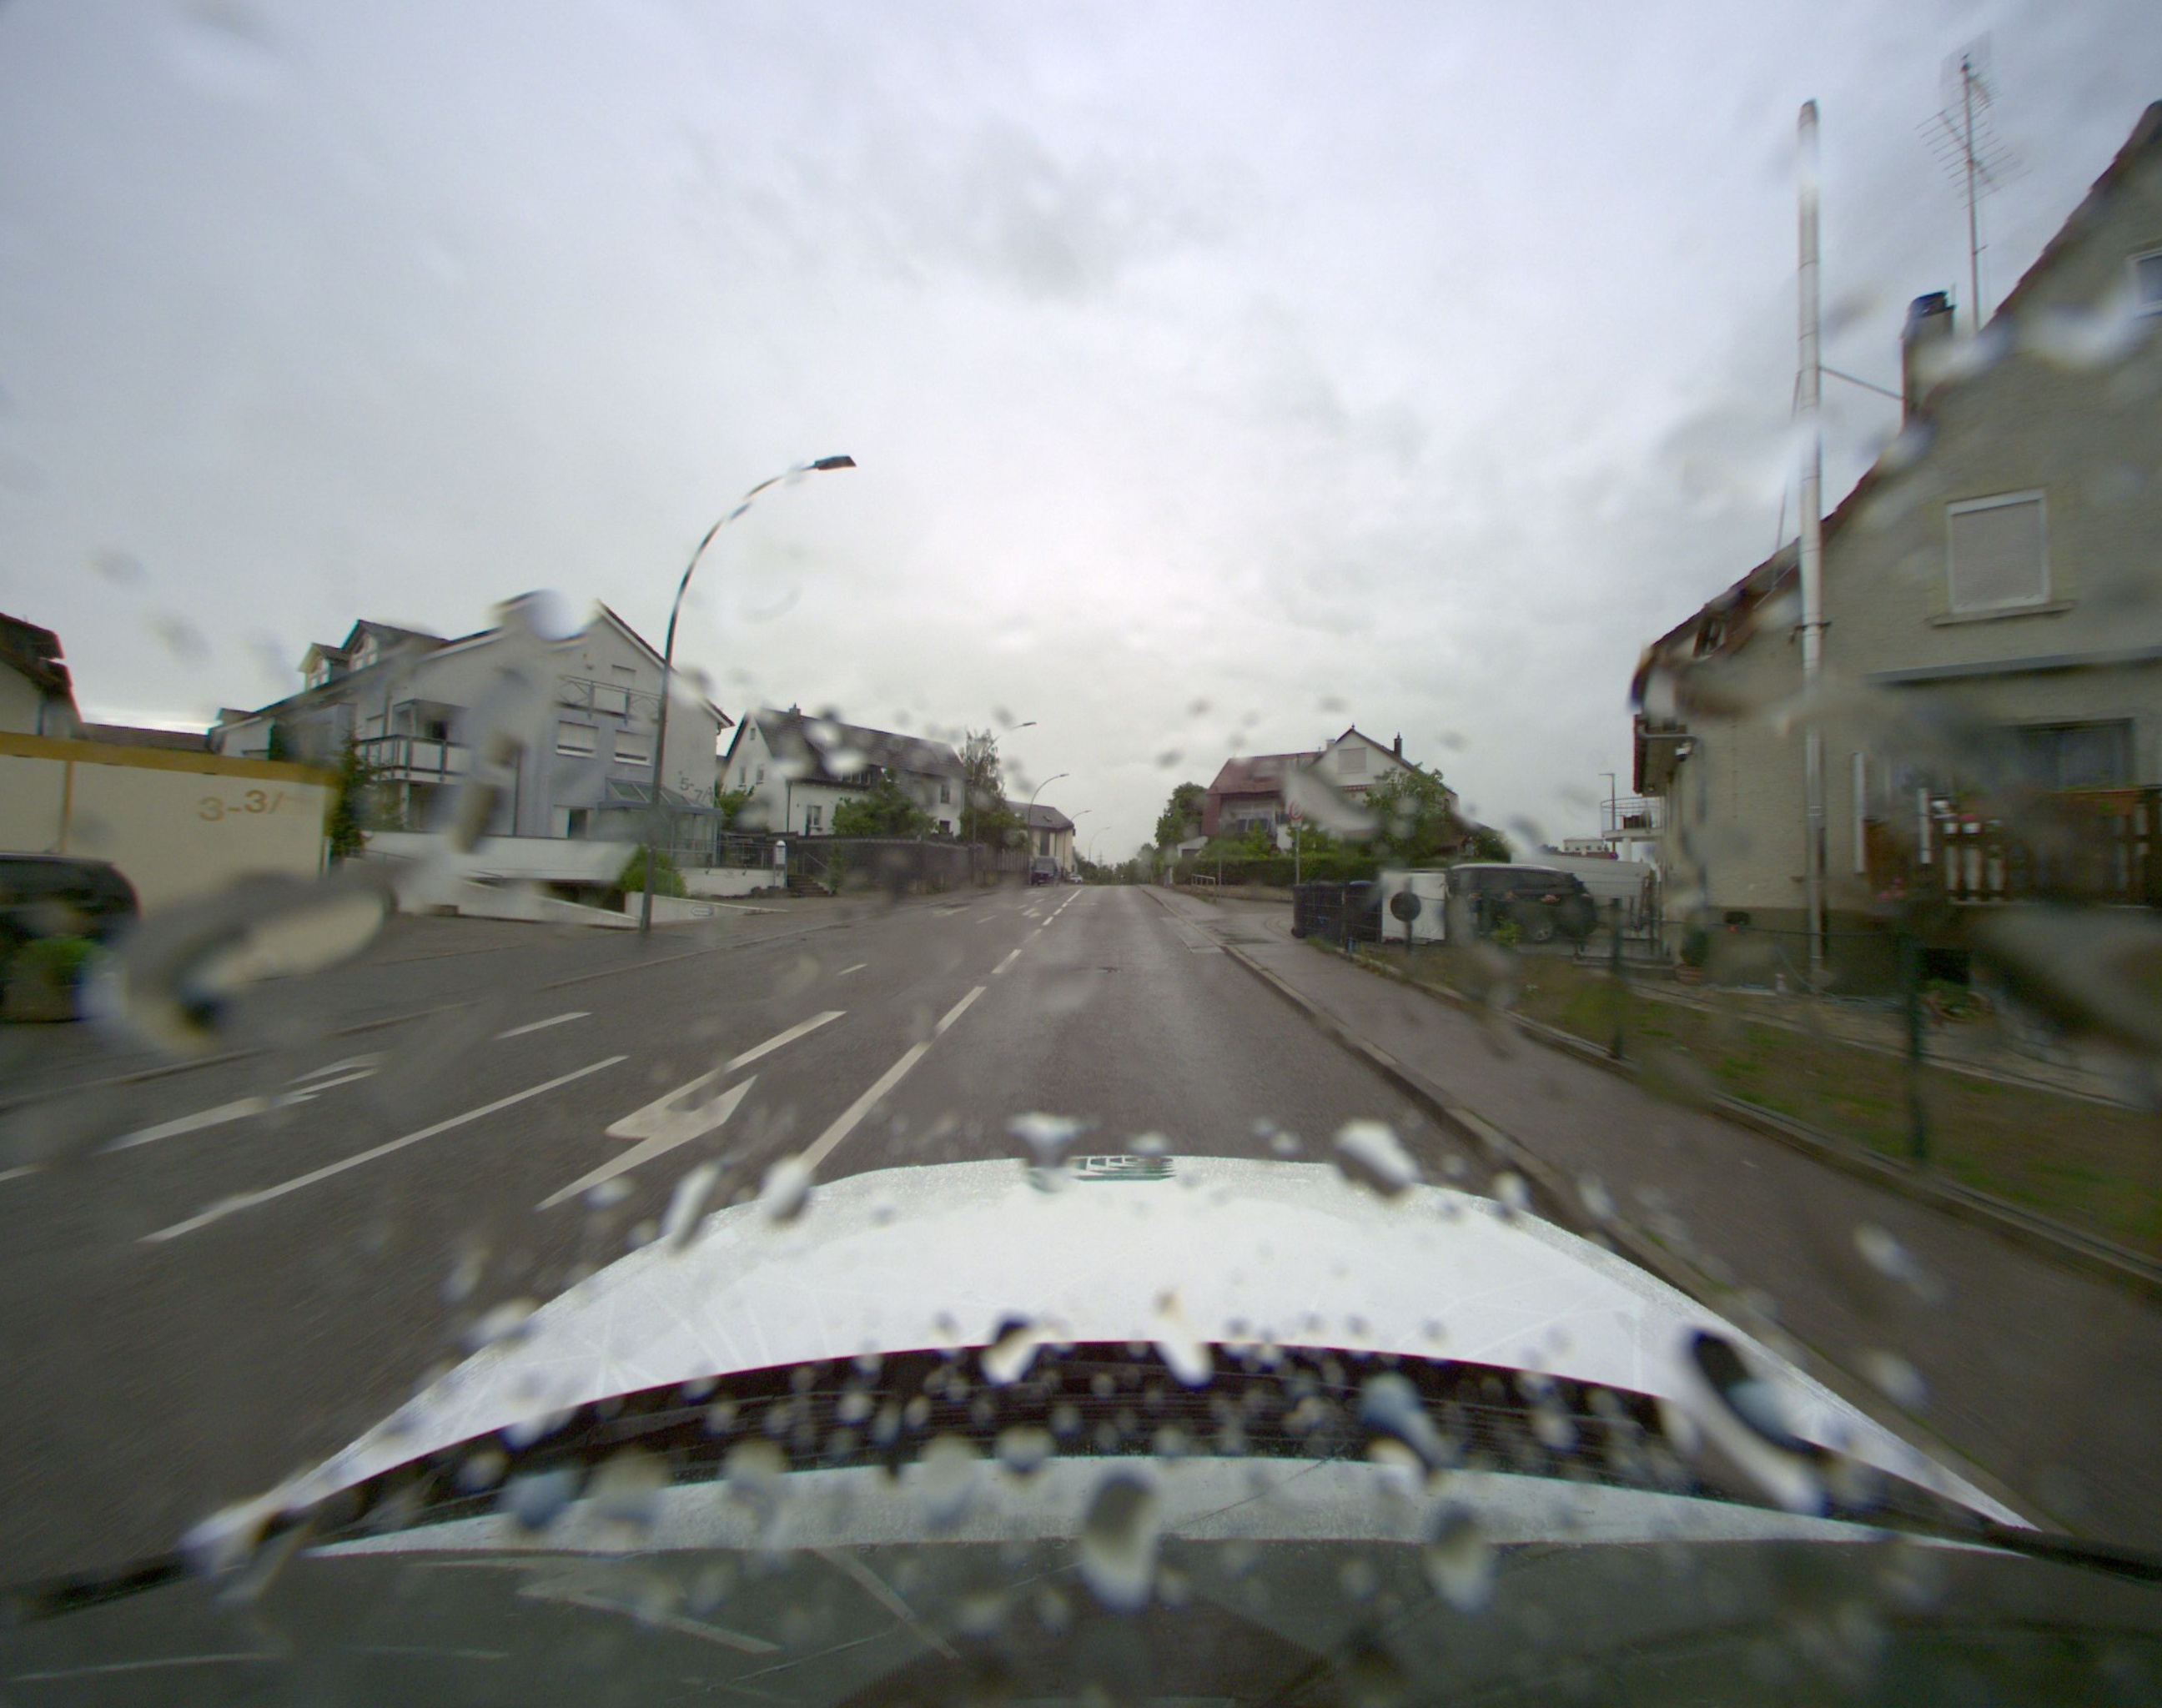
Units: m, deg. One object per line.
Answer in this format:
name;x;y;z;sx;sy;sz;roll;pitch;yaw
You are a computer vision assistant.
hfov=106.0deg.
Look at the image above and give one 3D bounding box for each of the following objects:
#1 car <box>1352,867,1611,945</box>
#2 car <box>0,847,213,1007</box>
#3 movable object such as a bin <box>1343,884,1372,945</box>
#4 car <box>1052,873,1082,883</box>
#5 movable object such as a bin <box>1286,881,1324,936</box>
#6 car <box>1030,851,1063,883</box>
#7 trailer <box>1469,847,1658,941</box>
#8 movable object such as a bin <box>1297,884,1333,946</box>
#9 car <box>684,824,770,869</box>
car;7.989;1.027;16.745;4.519;1.384;2.010;-1;1;19
car;-11.135;0.678;7.483;1.885;1.442;3.848;2;1;20
movable object such as a bin;4.759;1.036;14.052;0.439;1.021;0.527;-1;-1;17
car;-2.099;3.666;123.904;1.883;1.477;4.912;1;-2;39
movable object such as a bin;4.330;1.051;15.772;0.624;1.021;0.541;-1;-1;7
car;-3.005;1.213;71.894;2.084;2.649;5.926;2;-2;5
trailer;10.861;0.836;18.422;3.419;1.798;1.698;3;0;38
movable object such as a bin;4.132;1.062;14.354;0.525;1.021;0.737;-1;-1;21
car;-17.533;-0.382;40.286;3.950;1.781;2.012;7;1;36
